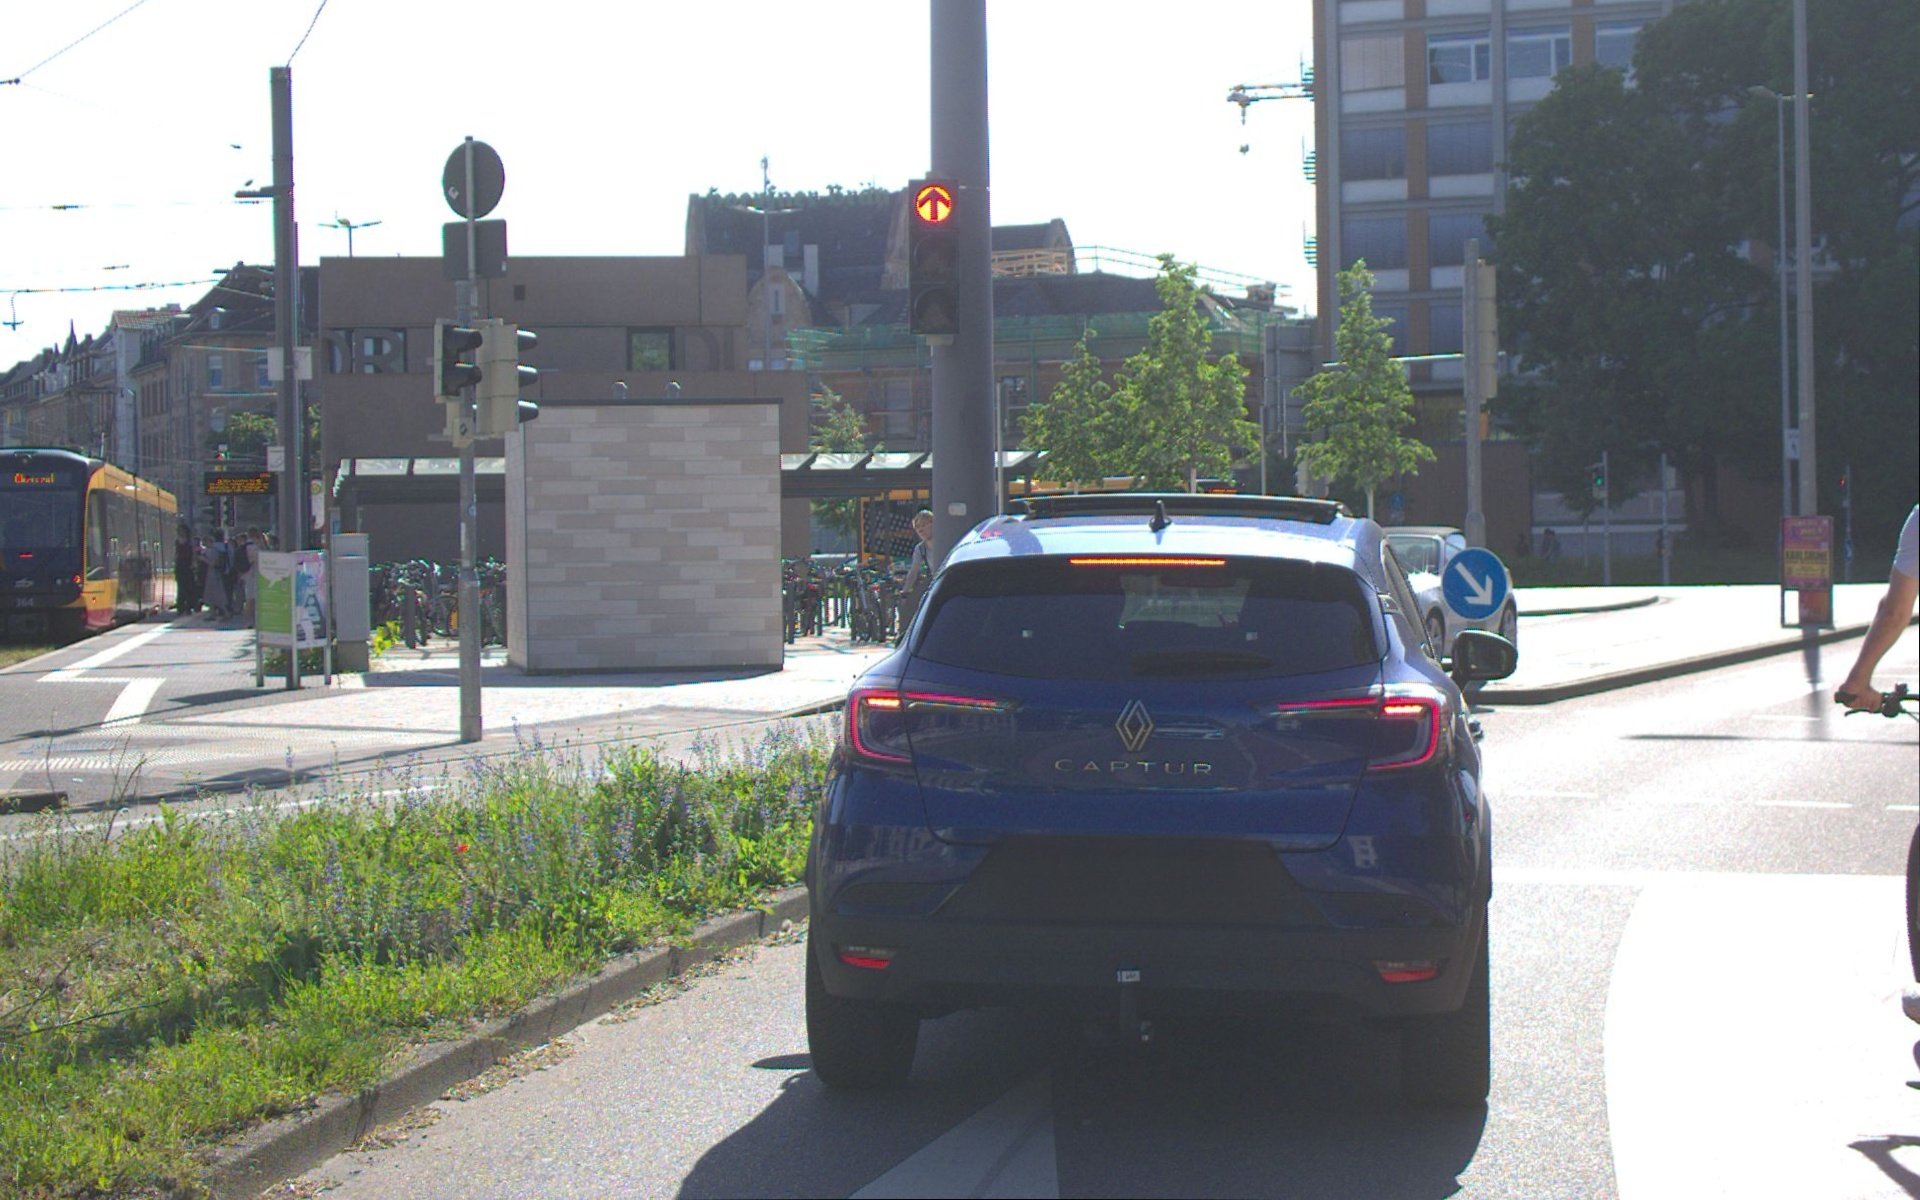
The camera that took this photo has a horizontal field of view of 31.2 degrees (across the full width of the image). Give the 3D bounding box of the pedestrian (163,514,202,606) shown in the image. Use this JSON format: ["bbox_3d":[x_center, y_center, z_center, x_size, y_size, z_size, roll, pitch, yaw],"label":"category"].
[{"bbox_3d":[-16.167,-0.830,71.494,0.740,1.911,0.742,0,0,-11],"label":"pedestrian"}]

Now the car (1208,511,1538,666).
[{"bbox_3d":[4.075,-0.143,33.368,1.803,1.388,4.087,0,1,28],"label":"car"}]

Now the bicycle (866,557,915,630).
[{"bbox_3d":[-1.072,-0.098,52.450,0.580,1.084,2.059,0,0,-6],"label":"bicycle"}]

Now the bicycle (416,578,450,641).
[{"bbox_3d":[-7.931,0.138,51.715,0.421,0.934,1.306,1,1,-12],"label":"bicycle"}]

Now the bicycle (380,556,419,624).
[{"bbox_3d":[-9.184,-0.161,56.381,0.565,1.090,2.030,0,0,-8],"label":"bicycle"}]

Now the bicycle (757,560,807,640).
[{"bbox_3d":[-2.410,-0.003,46.412,0.580,1.054,1.817,0,0,-6],"label":"bicycle"}]

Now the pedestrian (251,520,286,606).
[{"bbox_3d":[-15.355,-0.818,76.336,0.739,1.911,0.743,0,0,-13],"label":"pedestrian"}]

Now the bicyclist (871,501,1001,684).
[{"bbox_3d":[-0.210,-0.069,31.618,0.880,1.639,1.059,-1,0,17],"label":"bicyclist"}]

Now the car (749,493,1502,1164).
[{"bbox_3d":[0.659,0.510,10.199,1.824,1.594,3.657,1,1,9],"label":"car"}]

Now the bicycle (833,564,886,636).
[{"bbox_3d":[-1.374,0.005,46.727,0.580,0.958,2.059,0,0,-6],"label":"bicycle"}]

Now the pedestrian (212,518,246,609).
[{"bbox_3d":[-15.025,-0.752,70.680,0.632,1.850,0.703,0,0,-16],"label":"pedestrian"}]

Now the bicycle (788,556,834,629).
[{"bbox_3d":[-2.284,-0.106,52.449,0.580,1.084,2.059,0,0,-6],"label":"bicycle"}]

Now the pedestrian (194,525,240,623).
[{"bbox_3d":[-14.257,-0.493,66.002,0.847,1.877,0.761,0,0,-12],"label":"pedestrian"}]

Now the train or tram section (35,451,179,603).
[{"bbox_3d":[-20.809,-1.783,84.338,2.870,3.496,10.546,0,1,-11],"label":"train or tram section"}]

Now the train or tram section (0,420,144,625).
[{"bbox_3d":[-16.832,-1.398,63.742,2.870,3.496,10.546,0,1,-11],"label":"train or tram section"}]

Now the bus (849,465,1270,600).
[{"bbox_3d":[2.450,-1.719,91.687,12.437,3.384,2.875,0,0,43],"label":"bus"}]

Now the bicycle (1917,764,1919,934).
[{"bbox_3d":[4.135,0.731,13.389,0.723,0.956,1.882,1,1,17],"label":"bicycle"}]

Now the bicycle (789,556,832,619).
[{"bbox_3d":[-2.612,-0.217,59.954,0.580,1.084,1.872,0,0,-8],"label":"bicycle"}]

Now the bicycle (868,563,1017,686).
[{"bbox_3d":[-0.145,0.208,31.622,0.774,1.077,2.034,-1,0,17],"label":"bicycle"}]

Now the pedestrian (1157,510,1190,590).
[{"bbox_3d":[5.023,-1.171,80.890,0.725,1.850,0.703,0,0,-1],"label":"pedestrian"}]

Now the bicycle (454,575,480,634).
[{"bbox_3d":[-8.138,0.068,56.757,0.421,0.934,1.379,1,1,-8],"label":"bicycle"}]

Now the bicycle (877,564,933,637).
[{"bbox_3d":[-0.758,0.009,46.779,0.580,0.958,2.059,0,0,-6],"label":"bicycle"}]

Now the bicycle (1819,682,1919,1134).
[{"bbox_3d":[2.771,0.789,9.438,0.663,1.043,1.889,0,1,10],"label":"bicycle"}]

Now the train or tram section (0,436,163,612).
[{"bbox_3d":[-18.836,-1.600,74.001,2.870,3.496,10.546,0,1,-11],"label":"train or tram section"}]

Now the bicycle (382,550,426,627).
[{"bbox_3d":[-8.078,-0.162,49.997,0.565,1.090,2.030,0,0,-8],"label":"bicycle"}]

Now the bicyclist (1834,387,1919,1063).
[{"bbox_3d":[2.748,0.313,9.309,0.664,1.741,1.005,0,1,10],"label":"bicyclist"}]

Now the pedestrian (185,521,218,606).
[{"bbox_3d":[-16.729,-0.806,75.847,0.632,1.850,0.703,0,0,-6],"label":"pedestrian"}]

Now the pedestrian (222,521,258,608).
[{"bbox_3d":[-15.360,-0.750,73.361,0.673,1.850,0.703,0,0,-6],"label":"pedestrian"}]
